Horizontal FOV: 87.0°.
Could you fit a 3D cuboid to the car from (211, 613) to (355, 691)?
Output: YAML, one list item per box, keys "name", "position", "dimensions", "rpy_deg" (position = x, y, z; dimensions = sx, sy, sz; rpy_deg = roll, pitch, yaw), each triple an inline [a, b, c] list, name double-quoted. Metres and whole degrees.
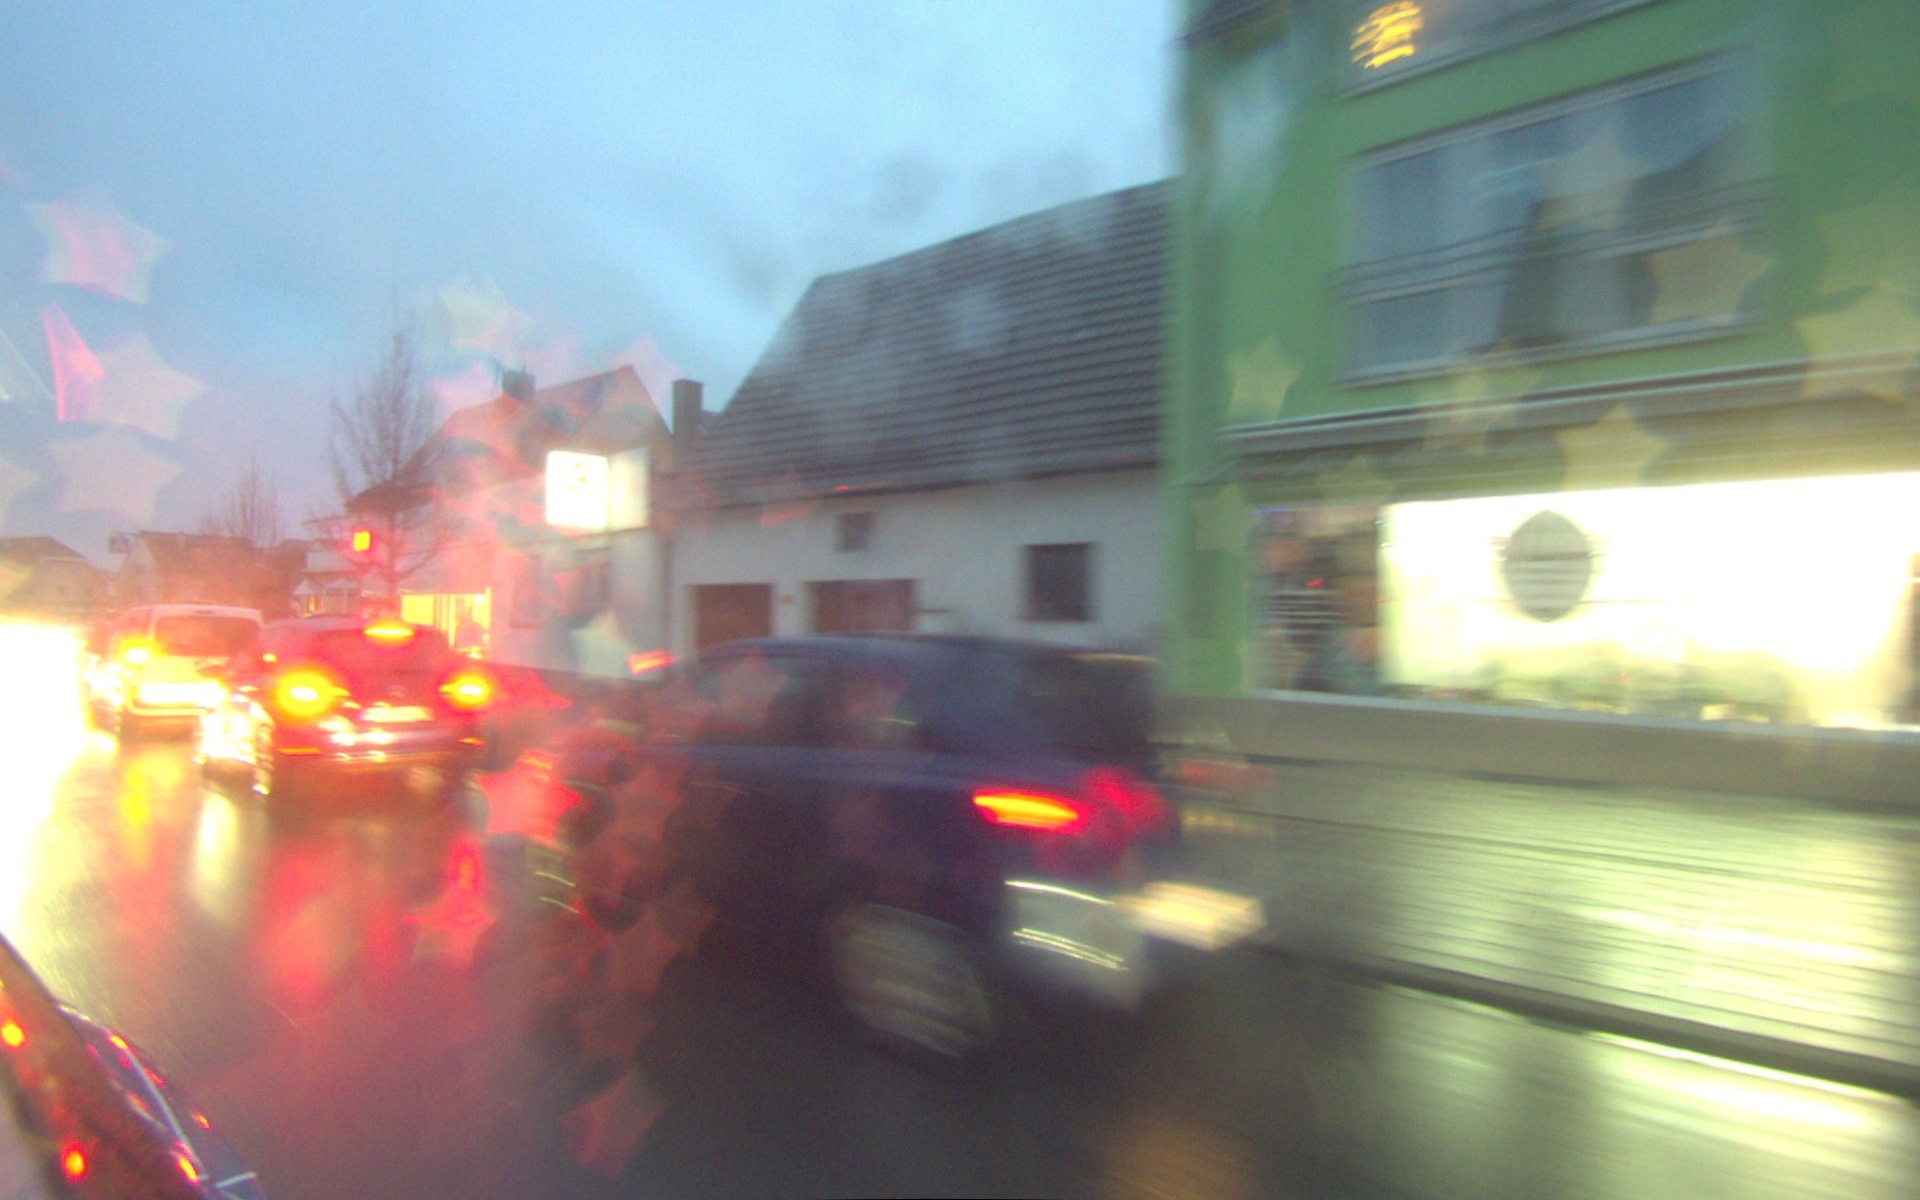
- name: "car"
  position: [-17.375, 1.283, 25.870]
  dimensions: [5.025, 1.806, 2.062]
  rpy_deg: [-2, -2, 44]

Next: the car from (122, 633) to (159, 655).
- name: "car"
  position: [-57.878, 3.083, 71.413]
  dimensions: [1.674, 1.442, 4.380]
  rpy_deg: [0, -2, -44]

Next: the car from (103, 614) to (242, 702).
- name: "car"
  position: [-17.932, 1.288, 22.949]
  dimensions: [1.970, 1.719, 4.970]
  rpy_deg: [-1, -2, -44]

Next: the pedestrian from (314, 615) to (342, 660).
- name: "pedestrian"
  position: [-24.125, 1.437, 38.631]
  dimensions: [0.815, 1.671, 1.100]
  rpy_deg: [0, -1, -35]

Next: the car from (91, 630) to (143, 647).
- name: "car"
  position: [-83.100, 3.812, 99.802]
  dimensions: [3.782, 1.557, 2.004]
  rpy_deg: [0, -1, -37]

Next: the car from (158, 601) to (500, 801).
- name: "car"
  position: [-6.429, 0.903, 10.103]
  dimensions: [4.259, 1.567, 1.836]
  rpy_deg: [-2, -5, 44]

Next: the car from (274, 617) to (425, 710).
- name: "car"
  position: [-13.020, 1.254, 21.458]
  dimensions: [1.858, 1.723, 4.717]
  rpy_deg: [0, -1, -42]

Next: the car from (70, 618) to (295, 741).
- name: "car"
  position: [-11.689, 1.202, 15.104]
  dimensions: [4.415, 1.559, 1.930]
  rpy_deg: [-5, -6, 43]

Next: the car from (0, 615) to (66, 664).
- name: "car"
  position: [-40.867, 1.702, 44.574]
  dimensions: [4.002, 2.029, 1.971]
  rpy_deg: [-2, -1, 45]

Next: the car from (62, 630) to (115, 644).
- name: "car"
  position: [-88.268, 3.726, 102.561]
  dimensions: [3.936, 1.309, 2.004]
  rpy_deg: [0, -1, -39]

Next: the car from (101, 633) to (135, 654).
- name: "car"
  position: [-67.046, 3.427, 80.571]
  dimensions: [1.814, 1.546, 4.142]
  rpy_deg: [0, -1, -44]

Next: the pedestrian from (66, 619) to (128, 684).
- name: "pedestrian"
  position: [-25.352, 1.499, 29.749]
  dimensions: [1.000, 1.890, 0.941]
  rpy_deg: [-1, -2, 5]

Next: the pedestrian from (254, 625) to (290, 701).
- name: "pedestrian"
  position: [-14.733, 1.350, 21.670]
  dimensions: [0.522, 1.597, 0.576]
  rpy_deg: [2, -4, -44]

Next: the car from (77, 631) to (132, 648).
- name: "car"
  position: [-85.468, 3.907, 101.157]
  dimensions: [3.933, 1.559, 2.005]
  rpy_deg: [0, -1, -34]

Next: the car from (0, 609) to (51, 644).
- name: "car"
  position: [-53.020, 1.485, 57.367]
  dimensions: [4.001, 1.868, 1.971]
  rpy_deg: [-2, -1, 44]

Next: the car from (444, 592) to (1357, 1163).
- name: "car"
  position: [-0.576, 0.883, 4.946]
  dimensions: [4.254, 1.568, 1.973]
  rpy_deg: [-3, -4, 40]

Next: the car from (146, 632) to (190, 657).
- name: "car"
  position: [-49.842, 2.780, 63.679]
  dimensions: [1.763, 1.500, 4.186]
  rpy_deg: [0, -1, -44]
